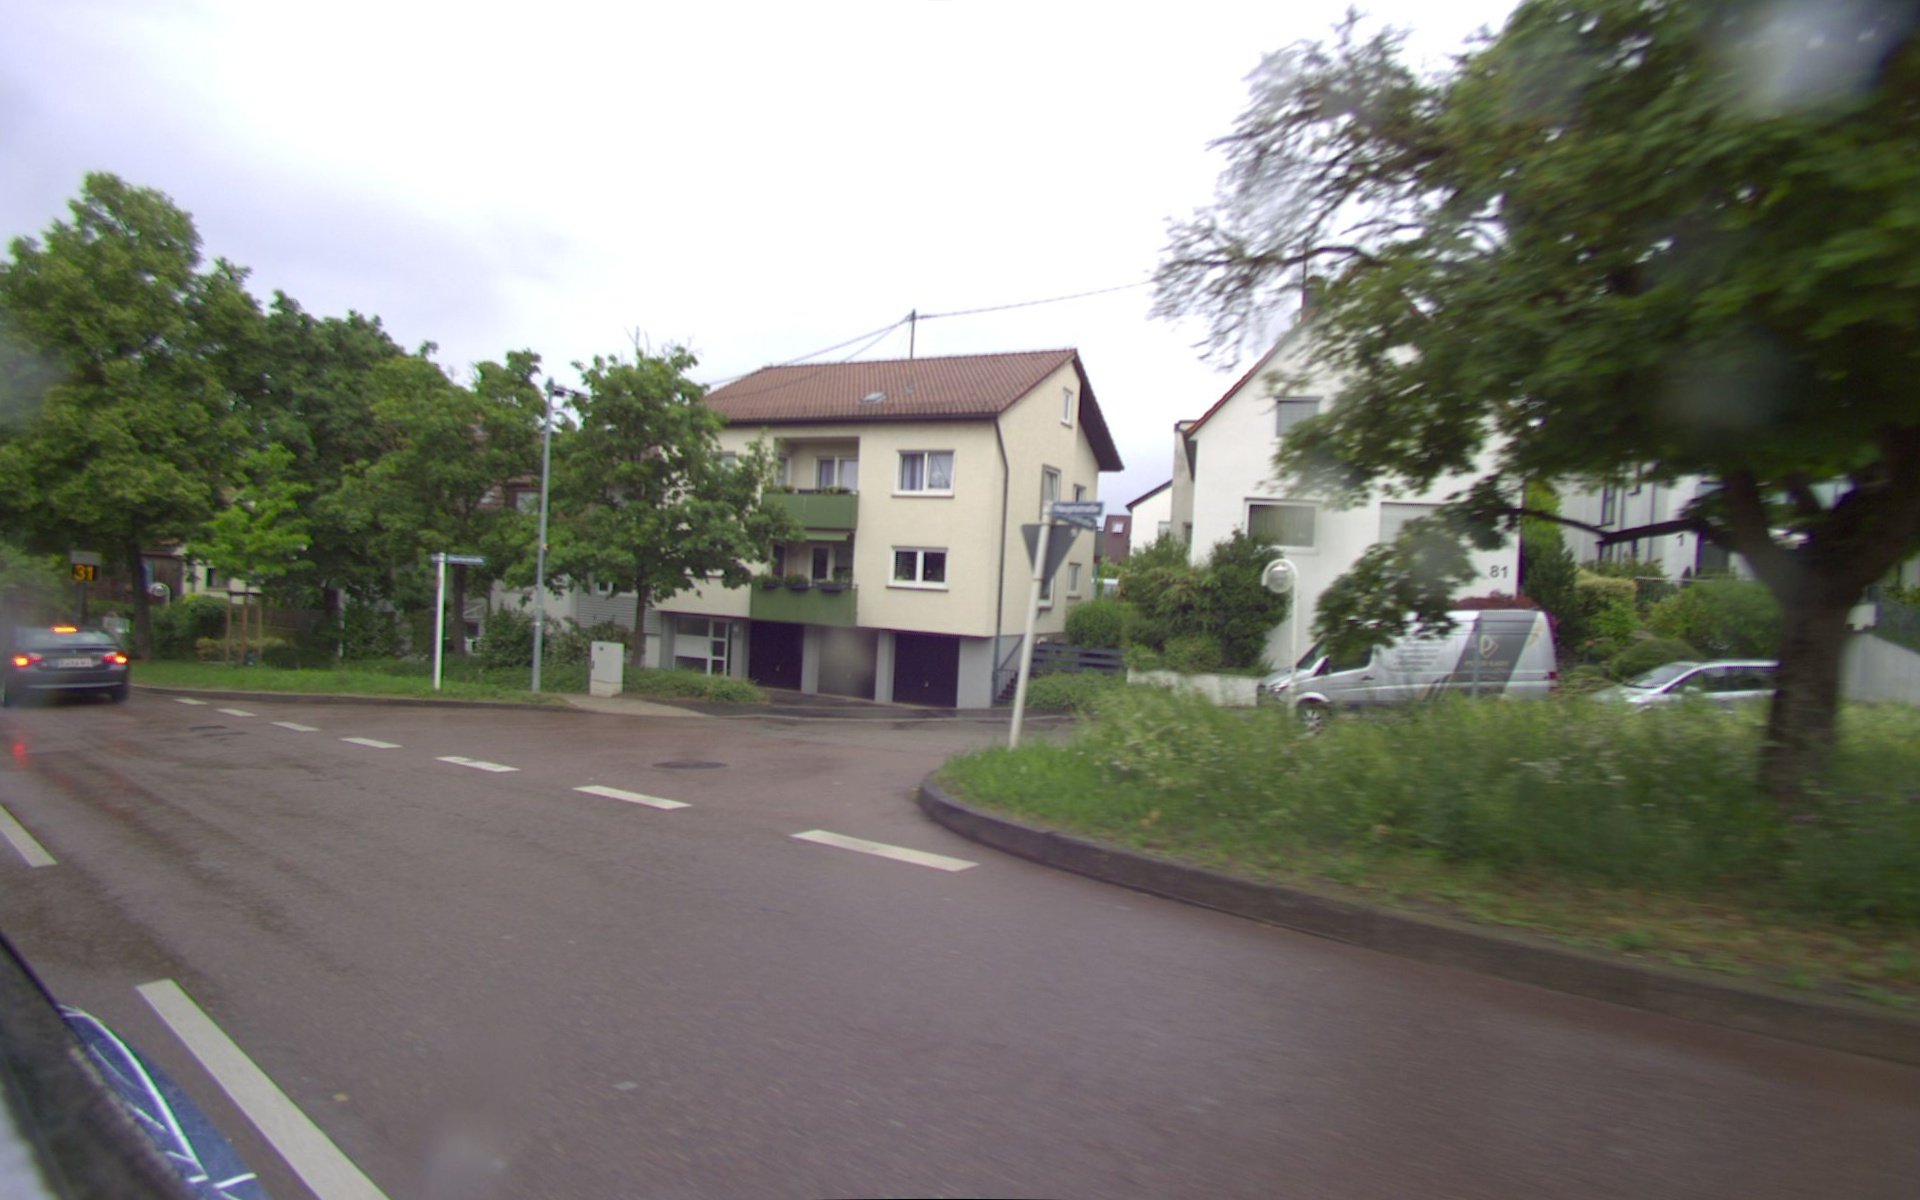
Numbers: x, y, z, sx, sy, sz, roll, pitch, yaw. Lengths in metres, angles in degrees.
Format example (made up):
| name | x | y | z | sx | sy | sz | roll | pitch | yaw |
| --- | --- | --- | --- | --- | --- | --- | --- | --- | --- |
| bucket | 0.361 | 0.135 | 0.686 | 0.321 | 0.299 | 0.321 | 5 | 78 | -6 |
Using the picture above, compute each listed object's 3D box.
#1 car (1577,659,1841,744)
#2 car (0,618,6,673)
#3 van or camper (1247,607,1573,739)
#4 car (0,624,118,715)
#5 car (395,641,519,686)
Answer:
| name | x | y | z | sx | sy | sz | roll | pitch | yaw |
| --- | --- | --- | --- | --- | --- | --- | --- | --- | --- |
| car | 15.018 | 2.005 | 20.470 | 3.990 | 1.560 | 1.557 | 0 | -1 | 7 |
| car | -32.017 | 1.458 | 32.365 | 4.373 | 1.701 | 1.733 | -1 | -1 | 41 |
| van or camper | 9.267 | 1.482 | 21.325 | 5.999 | 2.576 | 1.636 | -1 | 1 | 11 |
| car | -16.653 | 1.176 | 18.359 | 4.083 | 1.465 | 1.544 | -1 | -1 | 42 |
| car | -16.457 | 2.035 | 33.111 | 3.429 | 1.339 | 1.982 | -1 | -1 | 26 |
